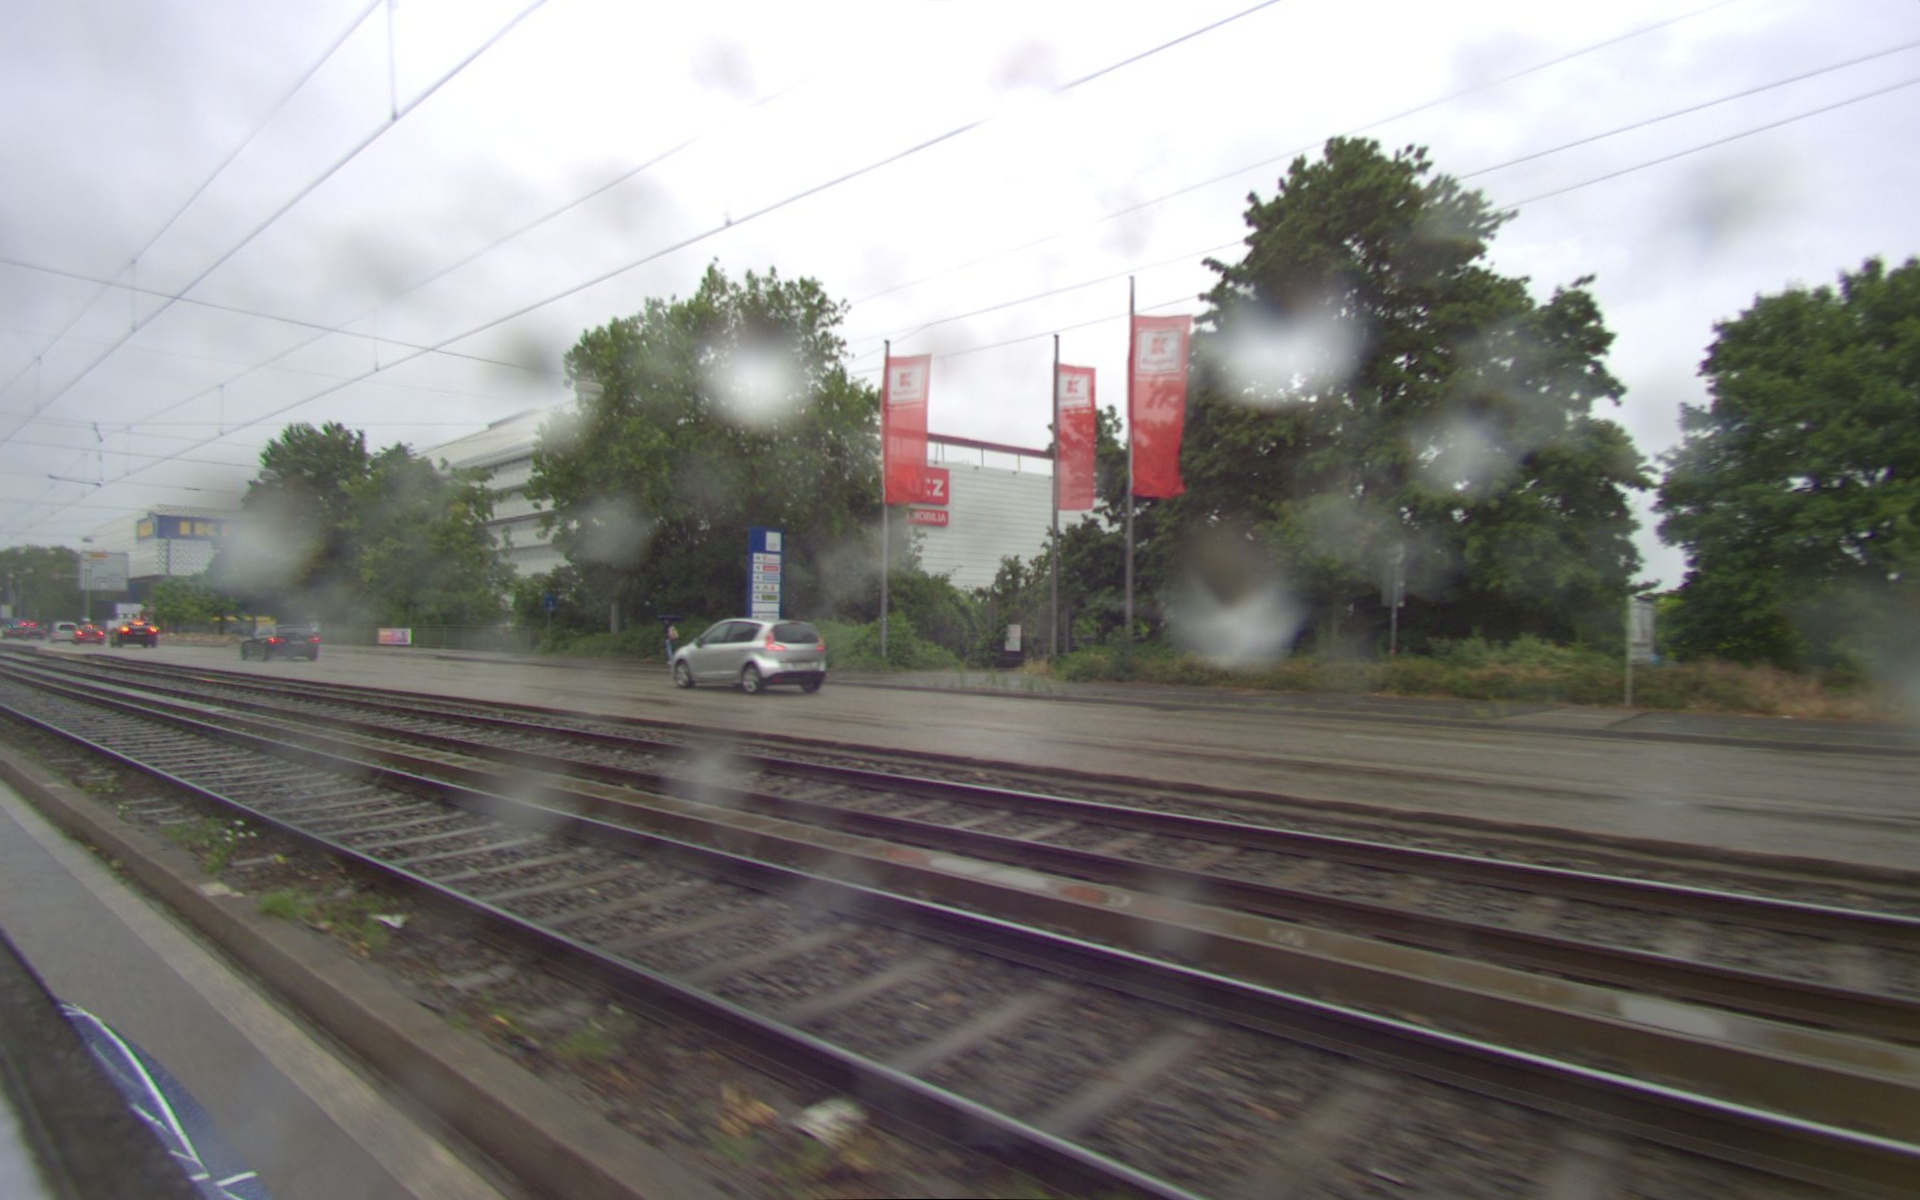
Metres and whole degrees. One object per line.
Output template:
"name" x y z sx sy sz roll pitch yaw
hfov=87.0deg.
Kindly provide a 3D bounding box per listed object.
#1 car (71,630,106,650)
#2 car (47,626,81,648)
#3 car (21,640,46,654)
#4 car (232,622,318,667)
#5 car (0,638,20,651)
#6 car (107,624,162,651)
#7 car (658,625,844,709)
"car" -66.782 3.092 77.540 1.684 1.465 4.002 2 -4 -45
"car" -80.164 3.349 90.548 3.999 1.924 1.821 -3 -4 42
"car" -104.134 5.278 113.779 3.999 1.557 1.685 -3 -4 42
"car" -27.435 1.783 40.510 4.396 1.655 1.867 -3 -2 42
"car" -118.297 5.571 126.055 4.001 1.557 1.625 -3 -4 44
"car" -51.650 2.361 63.272 4.870 1.665 1.916 -3 -3 42
"car" -4.771 1.454 22.750 4.346 1.655 1.867 -3 -2 42
